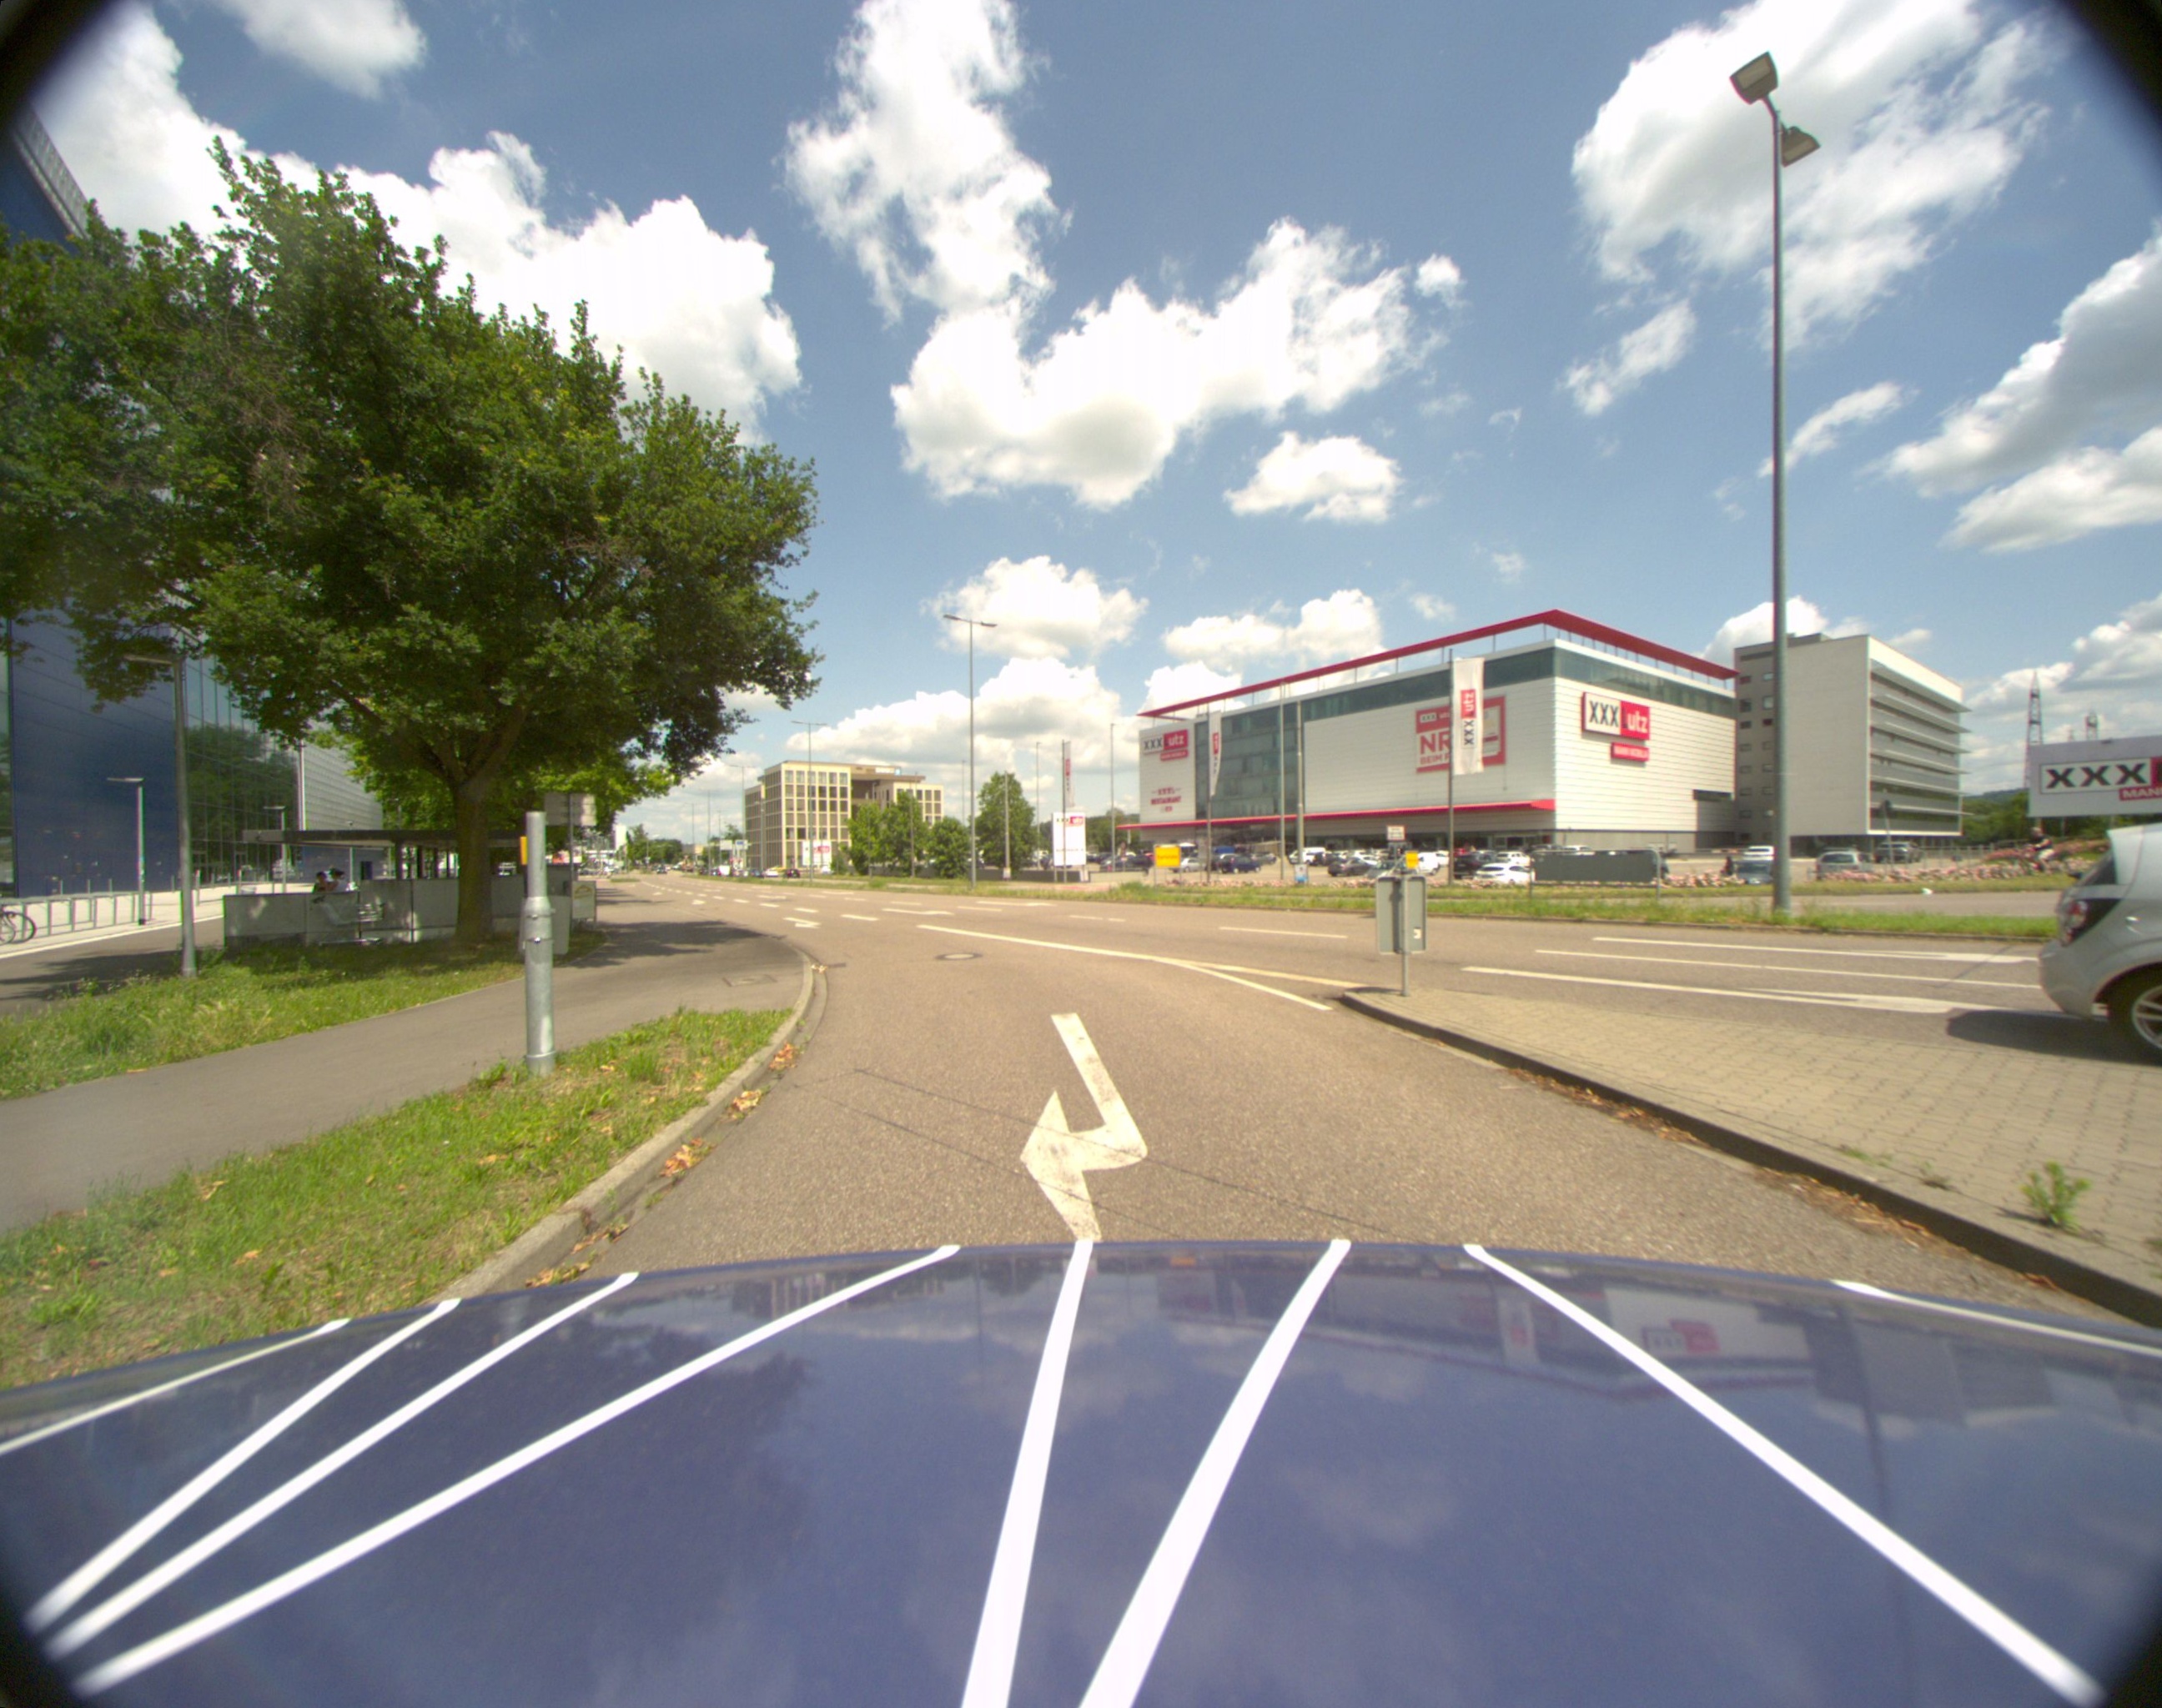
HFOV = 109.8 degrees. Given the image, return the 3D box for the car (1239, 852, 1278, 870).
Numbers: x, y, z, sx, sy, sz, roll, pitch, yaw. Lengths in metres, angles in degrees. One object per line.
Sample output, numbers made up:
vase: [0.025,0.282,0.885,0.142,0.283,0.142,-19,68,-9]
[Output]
car: [21.018,0.836,89.897,4.370,1.977,1.995,0,-1,-33]

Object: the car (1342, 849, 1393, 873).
car: [24.793,0.597,65.636,4.371,1.978,1.994,-1,1,-35]

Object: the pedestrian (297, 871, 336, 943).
pedestrian: [-18.244,1.250,18.142,0.547,1.652,0.477,-1,0,-35]

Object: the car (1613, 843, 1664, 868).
car: [45.887,0.098,62.509,4.371,1.977,1.995,-1,0,-35]

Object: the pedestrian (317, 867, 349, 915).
pedestrian: [-27.037,1.320,27.466,0.524,1.711,0.635,0,1,7]

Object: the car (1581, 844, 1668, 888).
car: [25.989,0.550,36.292,4.007,2.002,1.995,-1,0,-32]

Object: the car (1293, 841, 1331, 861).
car: [27.673,-0.370,90.859,4.579,2.293,1.865,-1,0,-35]

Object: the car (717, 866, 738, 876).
car: [-59.867,2.890,128.680,3.759,1.551,1.801,-2,-1,39]

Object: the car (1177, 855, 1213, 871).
car: [14.727,1.101,98.152,4.371,1.977,1.995,-1,0,-35]

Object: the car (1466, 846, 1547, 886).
car: [22.667,0.613,40.432,4.371,1.977,1.995,-1,0,-35]

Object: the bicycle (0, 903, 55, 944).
bicycle: [-24.523,1.577,16.961,1.871,0.876,0.469,0,-1,-34]

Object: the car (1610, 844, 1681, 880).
car: [32.799,0.432,44.101,4.371,1.977,1.995,-1,0,-35]

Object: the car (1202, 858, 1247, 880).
car: [13.843,1.405,73.139,4.092,1.978,1.838,-2,1,-35]

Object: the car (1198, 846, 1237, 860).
car: [18.571,-0.113,103.445,5.143,1.768,2.193,0,-1,-35]

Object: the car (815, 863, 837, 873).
car: [-52.710,2.812,157.087,4.006,2.001,1.995,0,-1,-30]

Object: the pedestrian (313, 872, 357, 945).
pedestrian: [-17.325,1.249,17.667,0.546,1.652,0.545,-1,0,-23]

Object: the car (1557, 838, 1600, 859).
car: [49.077,-0.546,74.972,4.093,1.977,1.995,-1,0,-33]

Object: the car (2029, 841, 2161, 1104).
car: [7.857,0.626,3.772,1.904,1.461,3.824,-3,0,-36]

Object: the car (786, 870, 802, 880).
car: [-41.735,3.044,110.452,1.627,1.461,4.107,0,-1,-29]

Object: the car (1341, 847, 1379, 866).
car: [30.809,0.251,83.934,4.007,2.002,1.995,-1,0,-34]

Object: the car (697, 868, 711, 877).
car: [-65.885,3.240,132.777,1.800,1.634,4.161,0,-1,-31]

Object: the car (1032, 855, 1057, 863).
car: [-6.307,0.870,131.162,3.840,1.461,1.852,0,-1,-32]

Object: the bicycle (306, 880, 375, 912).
bicycle: [-26.715,1.505,27.411,2.012,1.101,0.577,0,0,4]

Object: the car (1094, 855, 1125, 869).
car: [4.277,1.165,113.878,4.371,1.977,1.995,-1,0,-35]

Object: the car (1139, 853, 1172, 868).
car: [10.479,0.887,106.944,4.371,1.977,1.995,-1,0,-35]

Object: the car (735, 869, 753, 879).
car: [-51.940,3.087,117.155,1.800,1.393,4.834,-1,-1,-32]

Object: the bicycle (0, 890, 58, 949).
bicycle: [-23.631,1.402,16.164,2.150,1.222,0.719,0,-1,-24]

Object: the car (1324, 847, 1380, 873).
car: [21.531,0.483,60.416,4.371,1.977,1.995,-1,0,-35]

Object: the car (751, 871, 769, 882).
car: [-44.021,3.084,104.145,1.747,1.466,3.667,0,0,-31]

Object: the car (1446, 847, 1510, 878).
car: [27.334,0.544,52.259,4.605,1.978,1.995,-2,1,-35]

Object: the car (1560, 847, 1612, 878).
car: [34.412,0.533,51.737,1.994,1.977,5.320,-1,0,44]

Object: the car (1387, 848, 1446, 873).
car: [24.902,0.459,56.317,4.371,1.828,1.995,-1,0,-35]

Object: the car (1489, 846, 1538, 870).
car: [36.951,0.333,64.902,4.093,1.977,1.995,-1,0,-35]

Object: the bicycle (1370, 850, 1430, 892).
bicycle: [13.217,0.696,31.548,1.022,1.665,2.043,0,-1,-34]

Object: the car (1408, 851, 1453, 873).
car: [32.730,0.738,71.212,4.093,1.977,1.995,-1,0,-35]

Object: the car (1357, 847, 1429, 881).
car: [19.241,0.577,46.834,4.371,1.977,1.995,-1,0,-35]

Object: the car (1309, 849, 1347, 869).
car: [26.441,0.503,81.305,4.007,2.002,1.773,-1,0,-34]

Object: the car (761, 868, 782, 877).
car: [-50.226,2.961,123.275,1.628,1.463,4.347,0,-1,-43]

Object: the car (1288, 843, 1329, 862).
car: [25.034,-0.196,83.467,4.371,1.977,1.995,-1,0,-35]

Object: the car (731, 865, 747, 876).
car: [-55.332,2.740,122.953,1.800,1.691,4.217,0,-1,-32]

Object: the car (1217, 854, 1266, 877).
car: [15.023,1.085,71.020,4.370,1.977,1.995,-2,1,-35]

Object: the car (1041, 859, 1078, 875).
car: [-2.721,1.660,97.701,4.371,1.977,1.995,-1,-2,-35]

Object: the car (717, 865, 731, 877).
car: [-63.172,3.078,134.452,1.866,2.031,3.568,0,-1,-31]

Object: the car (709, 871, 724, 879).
car: [-58.931,3.340,122.867,1.800,1.243,4.297,0,-1,-32]

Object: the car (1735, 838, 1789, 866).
car: [50.001,-0.161,55.790,4.371,1.977,1.995,-1,0,-35]

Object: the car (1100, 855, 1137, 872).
car: [4.769,1.221,96.674,4.308,2.030,1.986,-1,0,-35]

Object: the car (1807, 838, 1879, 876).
car: [40.970,0.150,40.827,4.371,1.977,1.995,-1,0,-35]

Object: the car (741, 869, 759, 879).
car: [-48.472,2.887,111.271,1.801,1.409,4.663,1,-1,-32]

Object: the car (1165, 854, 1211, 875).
car: [10.832,1.061,76.799,4.371,1.977,1.995,-1,0,-35]

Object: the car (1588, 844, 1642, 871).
car: [41.526,0.254,59.094,4.635,1.977,1.995,-1,0,-36]
